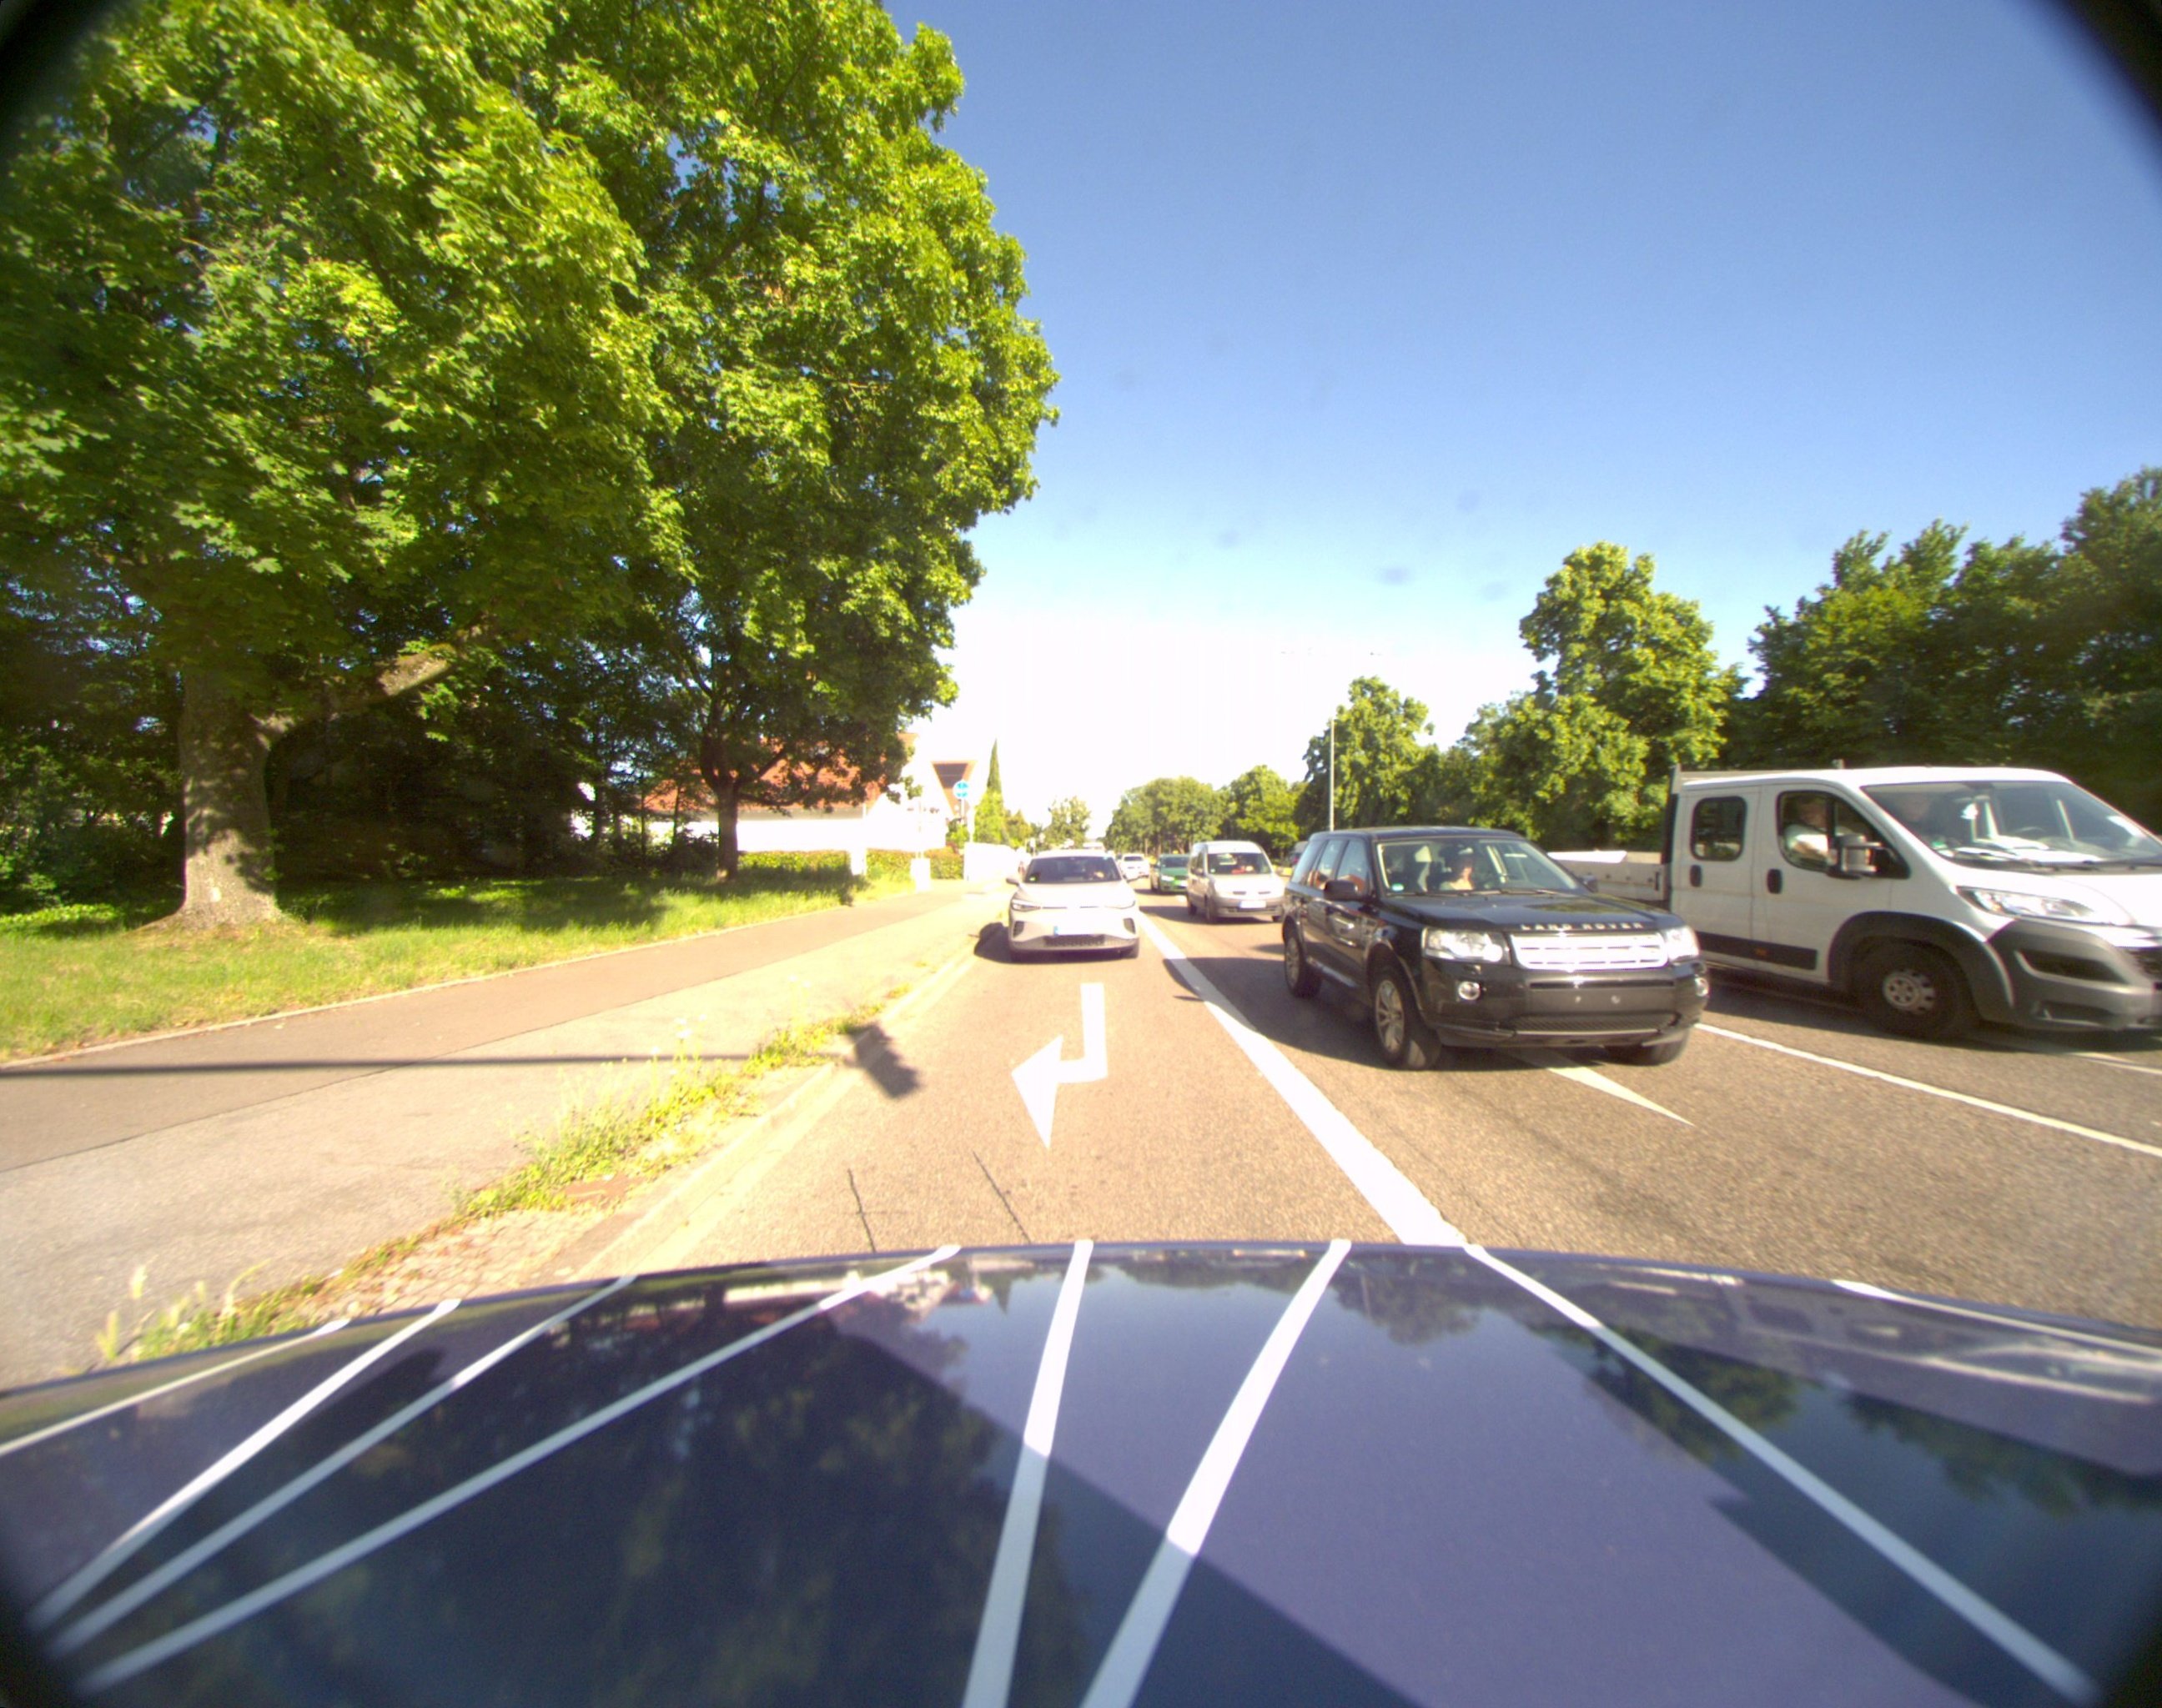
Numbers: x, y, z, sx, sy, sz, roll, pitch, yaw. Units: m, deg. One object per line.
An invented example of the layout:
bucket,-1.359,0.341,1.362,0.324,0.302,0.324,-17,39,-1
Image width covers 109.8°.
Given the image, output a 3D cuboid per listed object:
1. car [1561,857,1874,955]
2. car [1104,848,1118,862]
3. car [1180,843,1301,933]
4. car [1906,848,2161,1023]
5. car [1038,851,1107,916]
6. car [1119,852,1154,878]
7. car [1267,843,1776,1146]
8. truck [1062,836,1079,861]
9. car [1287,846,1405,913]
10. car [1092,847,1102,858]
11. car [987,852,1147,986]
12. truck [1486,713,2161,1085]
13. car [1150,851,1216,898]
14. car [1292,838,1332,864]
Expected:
car,10.710,0.773,13.323,1.835,1.397,4.355,0,1,0
car,4.001,0.072,102.003,1.798,1.787,3.911,-2,1,0
car,3.430,0.662,17.181,1.919,1.718,4.365,-2,1,2
car,10.601,0.732,6.774,1.878,1.565,4.243,0,1,0
car,-0.209,0.745,21.428,1.691,1.564,4.120,-2,1,0
car,3.414,0.654,47.449,1.919,1.477,4.365,-2,1,2
car,2.993,0.769,6.432,1.826,1.674,4.392,-1,1,1
truck,-1.283,-0.713,96.415,1.998,3.058,5.807,-2,1,0
car,6.656,0.570,19.528,1.726,1.492,4.000,-2,1,2
car,2.877,-0.262,137.778,1.840,1.787,3.911,-2,1,0
car,-0.105,0.839,11.927,1.992,1.631,4.365,-2,1,2
truck,7.233,0.269,8.089,2.190,2.296,6.773,0,0,0
car,3.594,0.686,27.559,1.919,1.477,4.365,-2,1,2
car,19.164,-0.252,63.229,1.917,2.072,4.539,-2,1,1
